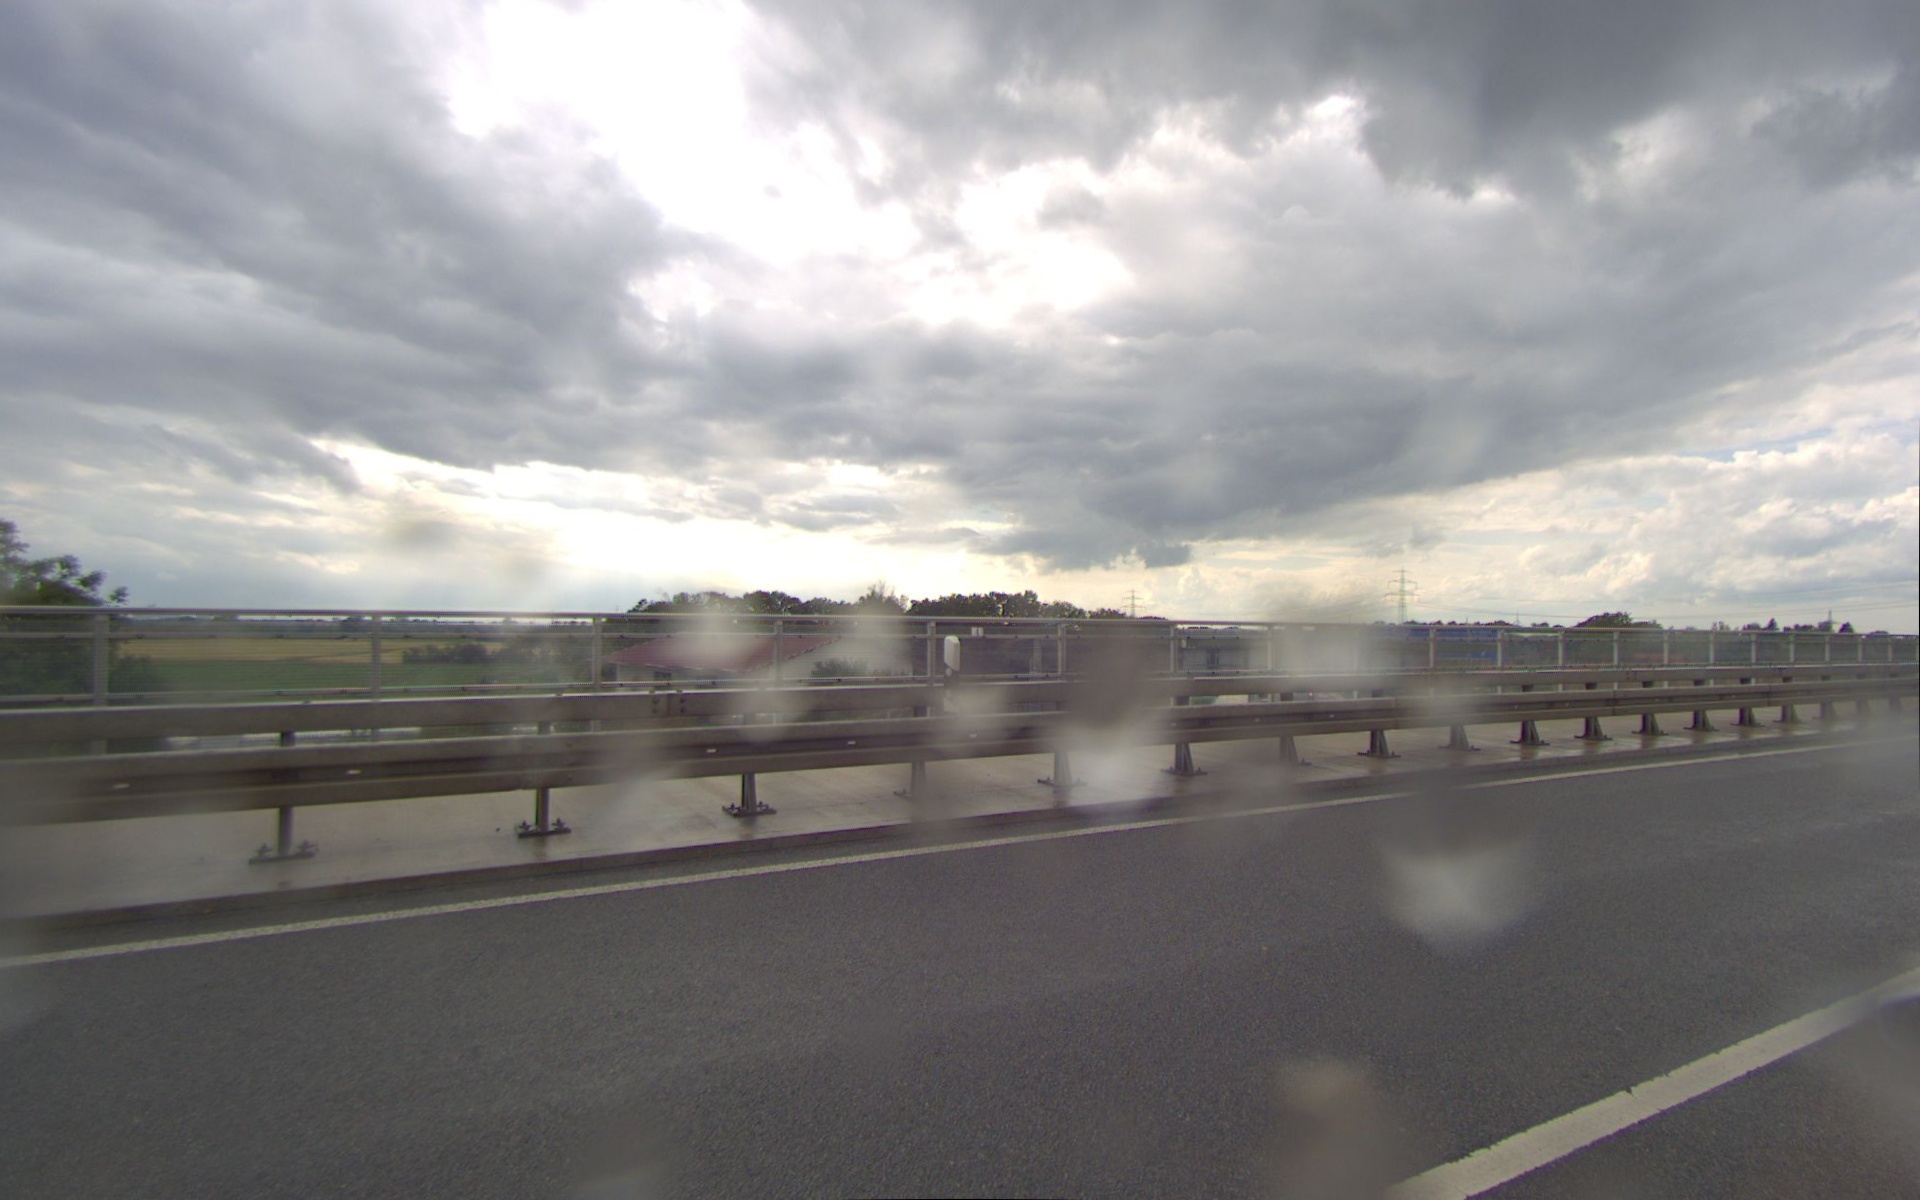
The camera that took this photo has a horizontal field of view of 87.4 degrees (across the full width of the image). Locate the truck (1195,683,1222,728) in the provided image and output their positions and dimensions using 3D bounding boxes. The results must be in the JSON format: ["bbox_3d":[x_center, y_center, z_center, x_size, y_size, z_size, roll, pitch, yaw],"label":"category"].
[{"bbox_3d":[28.464,11.931,114.840,2.388,4.054,11.174,2,0,16],"label":"truck"}]
